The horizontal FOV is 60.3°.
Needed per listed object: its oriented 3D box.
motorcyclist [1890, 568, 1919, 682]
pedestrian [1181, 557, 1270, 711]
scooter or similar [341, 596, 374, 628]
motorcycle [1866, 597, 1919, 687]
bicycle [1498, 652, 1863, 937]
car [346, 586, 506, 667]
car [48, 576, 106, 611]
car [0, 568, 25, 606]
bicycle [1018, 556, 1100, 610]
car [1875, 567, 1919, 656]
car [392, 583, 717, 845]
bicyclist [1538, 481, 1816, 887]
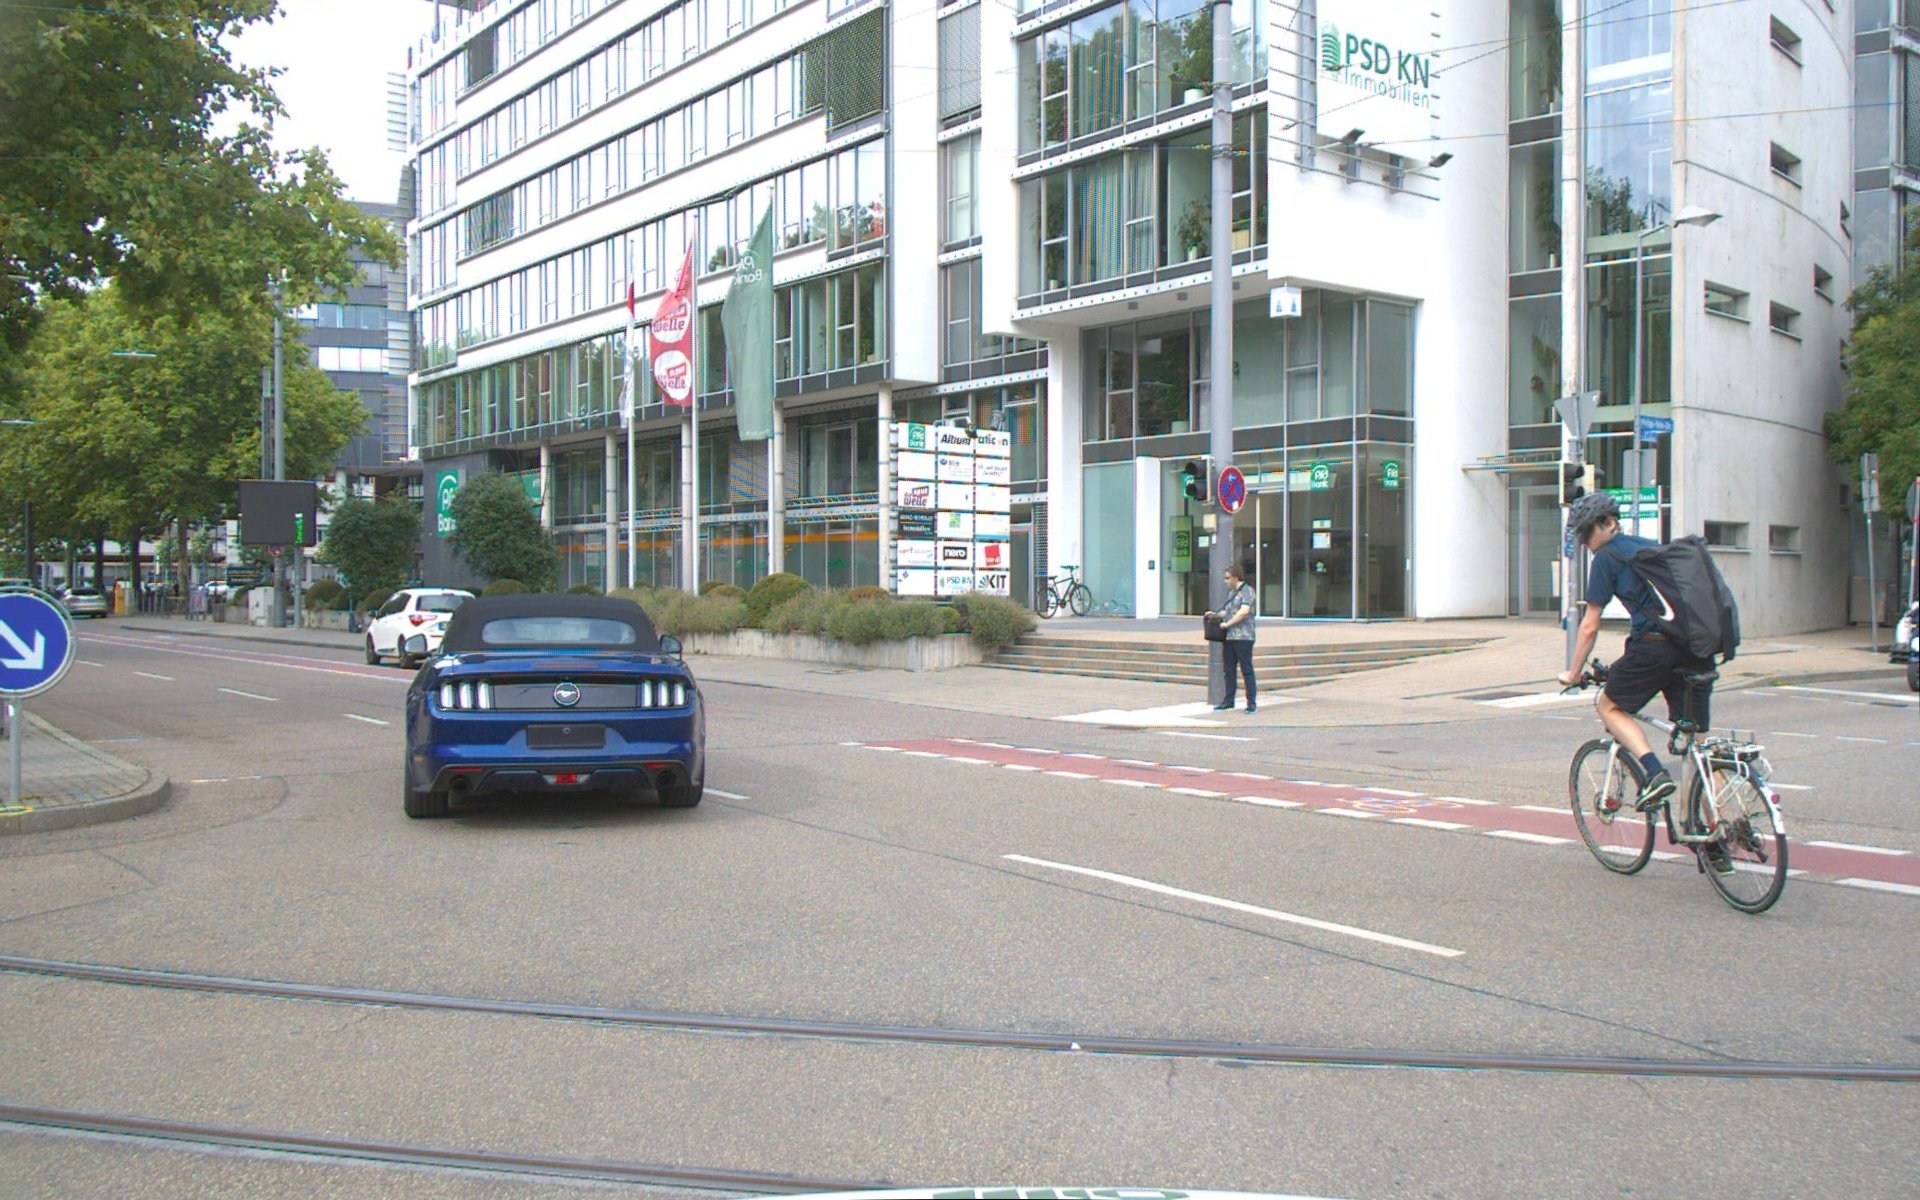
[{"bbox_3d":[14.275,0.365,24.263,0.874,1.644,0.810,-1,2,-39],"label":"motorcyclist"},{"bbox_3d":[3.349,0.407,20.894,0.756,1.897,0.828,-1,1,-31],"label":"pedestrian"},{"bbox_3d":[-18.729,0.361,51.406,0.582,0.967,1.839,-1,1,-32],"label":"scooter or similar"},{"bbox_3d":[14.259,0.588,24.268,2.478,1.220,0.816,-1,2,-40],"label":"motorcycle"},{"bbox_3d":[3.429,0.861,8.131,0.784,1.105,2.130,0,1,-3],"label":"bicycle"},{"bbox_3d":[-10.565,0.466,32.576,1.821,1.464,4.134,-1,1,-36],"label":"car"},{"bbox_3d":[-43.291,-0.342,81.056,1.867,1.609,4.267,0,1,-37],"label":"car"},{"bbox_3d":[-50.818,-0.685,87.516,1.875,1.936,4.077,-1,1,-36],"label":"car"},{"bbox_3d":[2.316,-0.397,38.417,2.096,1.197,0.577,0,2,-42],"label":"bicycle"},{"bbox_3d":[19.102,0.202,31.217,4.177,1.583,1.810,-1,3,-40],"label":"car"},{"bbox_3d":[-2.827,0.629,11.746,1.844,1.428,4.268,0,1,-13],"label":"car"},{"bbox_3d":[3.441,0.366,8.049,0.780,1.816,1.232,0,1,-3],"label":"bicyclist"}]
